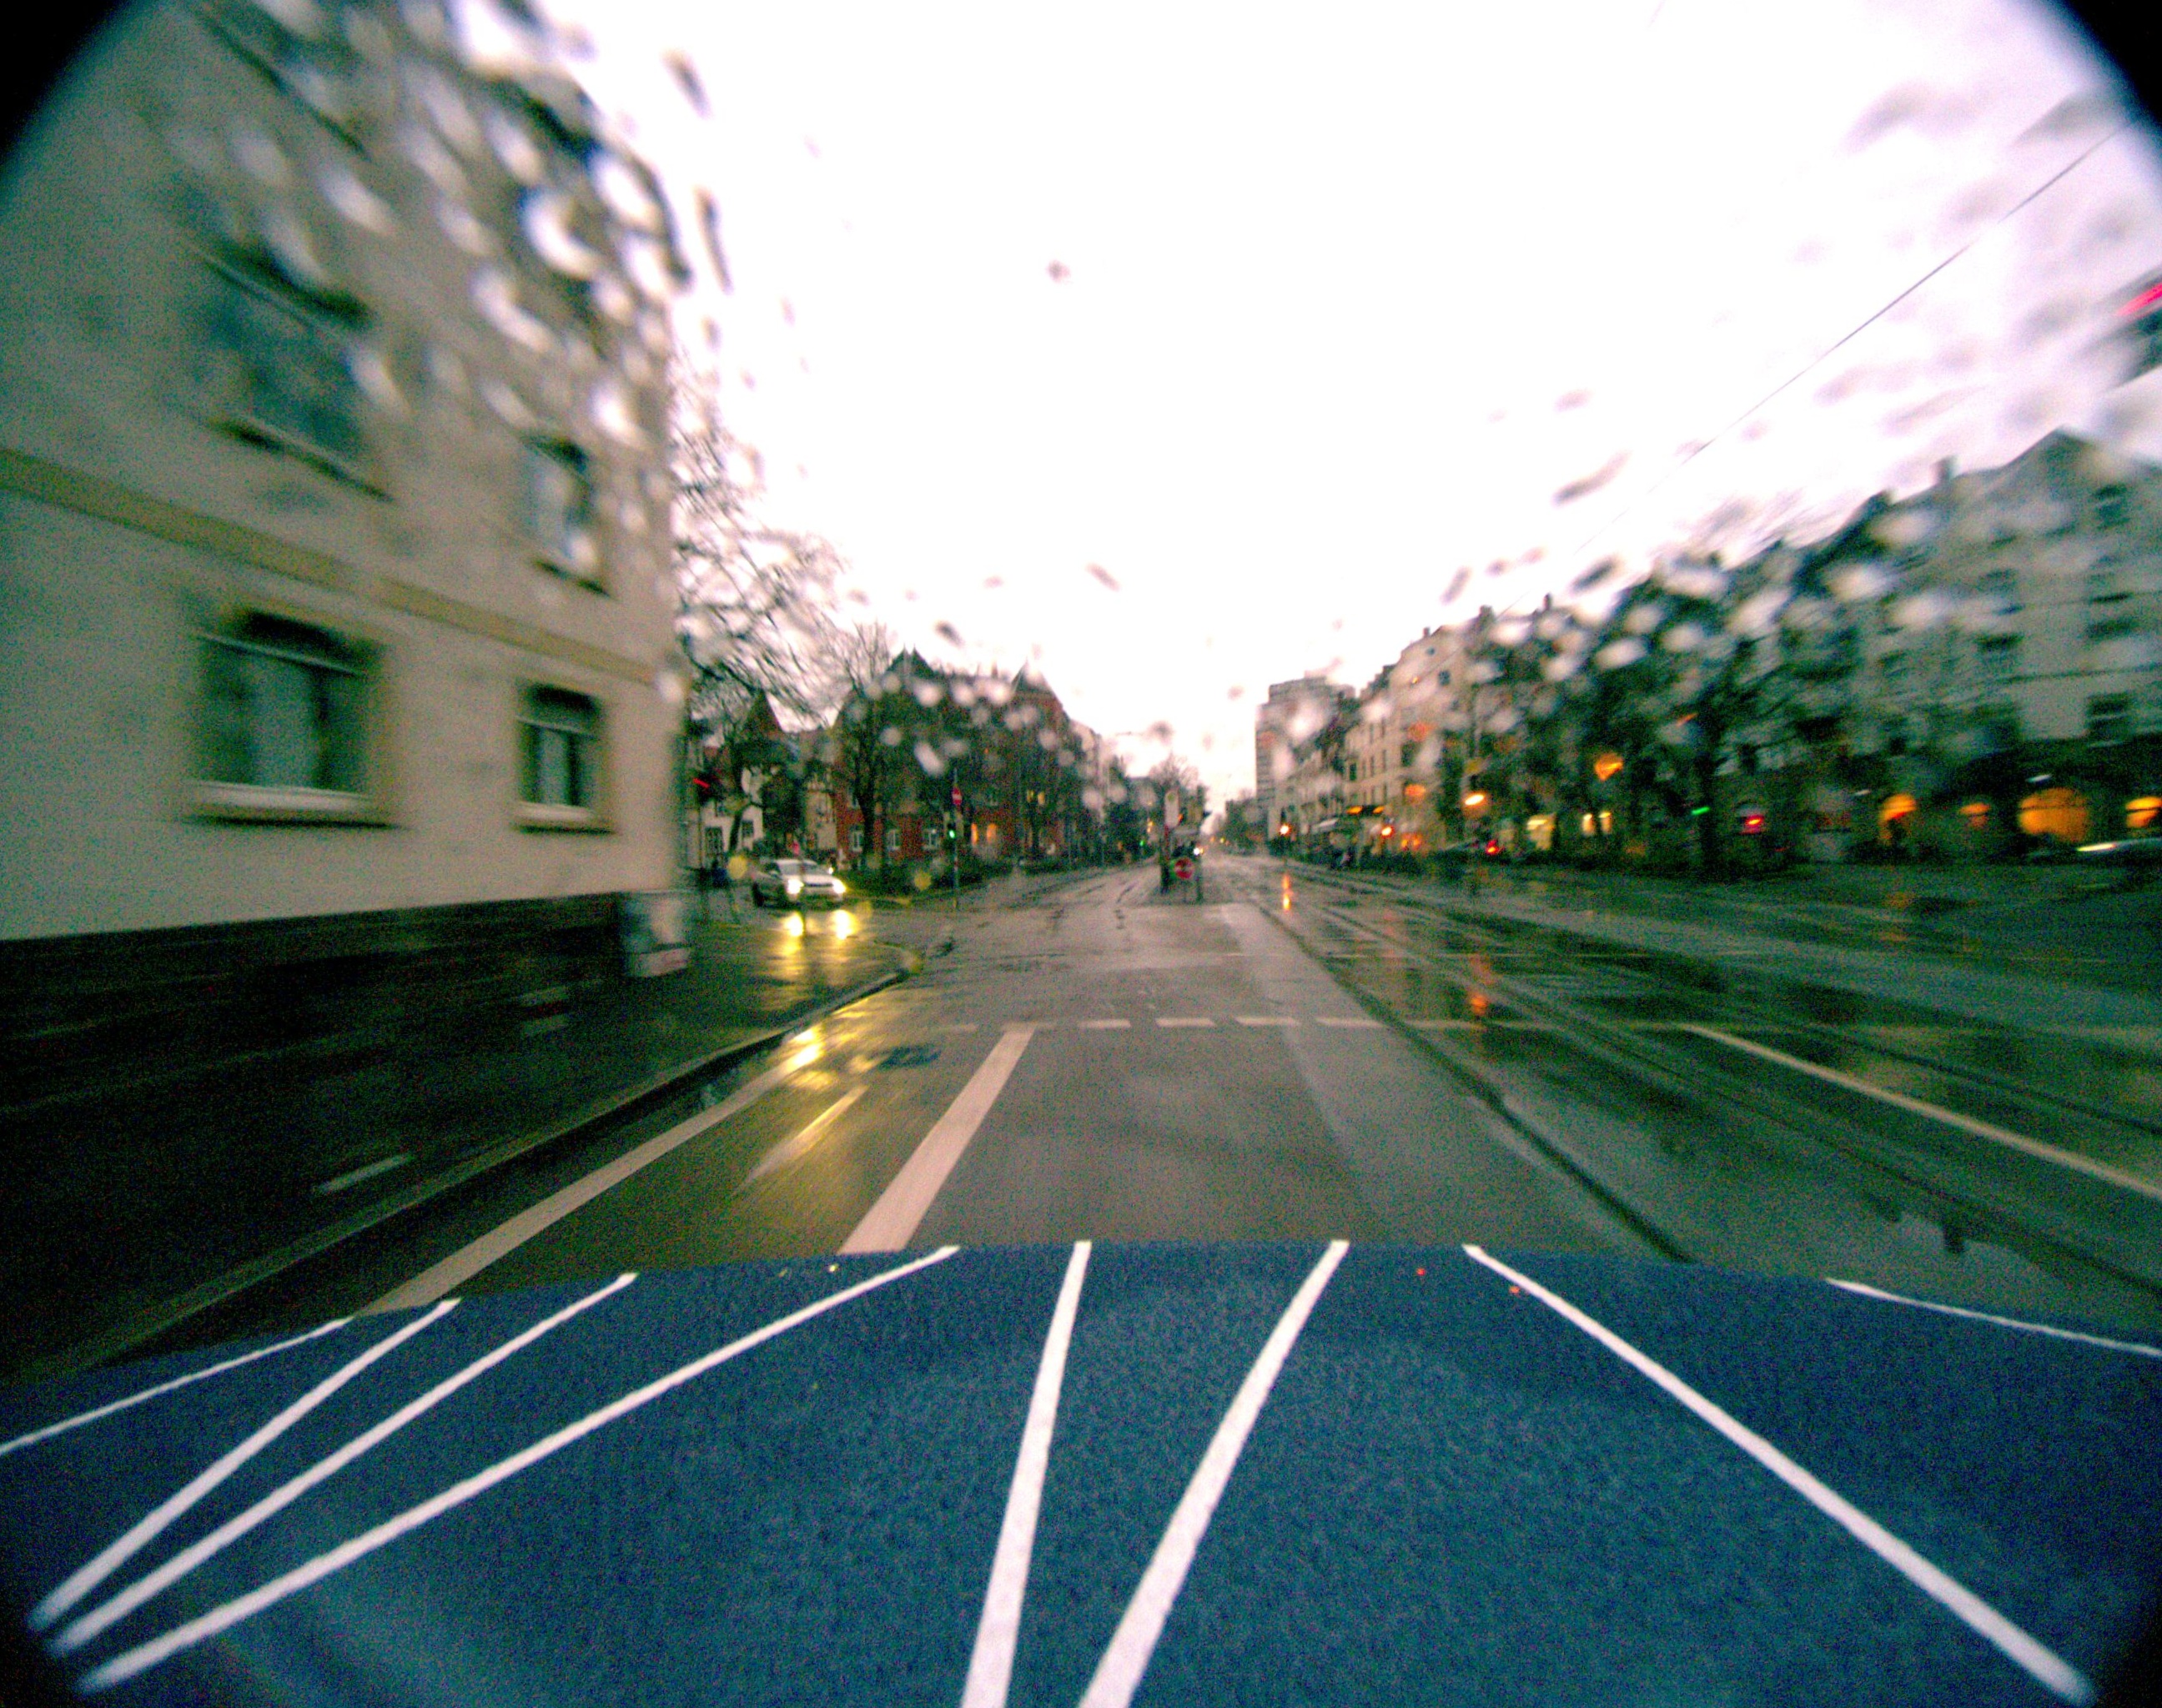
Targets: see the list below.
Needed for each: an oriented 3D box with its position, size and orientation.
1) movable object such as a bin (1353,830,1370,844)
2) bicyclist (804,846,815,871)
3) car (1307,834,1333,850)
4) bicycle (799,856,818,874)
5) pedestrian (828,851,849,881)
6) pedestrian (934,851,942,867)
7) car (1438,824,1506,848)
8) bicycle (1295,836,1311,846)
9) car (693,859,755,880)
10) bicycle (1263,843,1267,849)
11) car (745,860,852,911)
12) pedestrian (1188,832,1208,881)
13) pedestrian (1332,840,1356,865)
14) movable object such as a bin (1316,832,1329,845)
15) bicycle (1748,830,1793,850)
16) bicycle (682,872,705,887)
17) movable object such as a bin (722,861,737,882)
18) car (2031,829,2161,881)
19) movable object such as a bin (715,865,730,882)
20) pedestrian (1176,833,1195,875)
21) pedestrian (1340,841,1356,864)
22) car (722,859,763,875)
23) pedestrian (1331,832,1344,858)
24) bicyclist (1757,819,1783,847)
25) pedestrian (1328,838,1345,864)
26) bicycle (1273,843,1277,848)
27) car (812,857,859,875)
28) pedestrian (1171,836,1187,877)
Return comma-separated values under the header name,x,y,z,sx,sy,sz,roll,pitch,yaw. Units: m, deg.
name,x,y,z,sx,sy,sz,roll,pitch,yaw
movable object such as a bin,29.780,-1.805,80.683,1.352,1.364,1.282,-5,1,7
bicyclist,-21.010,0.356,58.806,0.467,1.876,0.680,-2,2,9
car,25.778,-1.267,81.991,1.676,1.507,3.679,-5,1,2
bicycle,-21.010,0.834,58.706,0.467,1.284,1.915,-2,1,9
pedestrian,-15.341,0.752,47.973,0.876,1.853,0.816,-1,2,36
pedestrian,-12.443,0.434,66.113,0.546,1.309,0.608,-4,1,-3
car,29.127,-1.337,56.596,4.332,1.574,1.941,-1,1,32
bicycle,31.734,-1.843,108.746,1.988,1.152,0.531,-5,1,8
car,-28.429,1.221,60.650,1.846,1.477,4.007,-2,1,37
bicycle,32.511,-1.442,134.184,0.435,1.001,1.882,-2,1,10
car,-9.768,0.989,26.044,1.903,1.501,4.740,-3,2,-40
pedestrian,4.587,0.092,29.816,0.688,1.906,0.718,-2,1,5
pedestrian,14.368,-0.103,41.517,1.058,1.247,0.506,-5,1,8
movable object such as a bin,29.647,-1.878,93.177,1.239,1.423,1.074,-5,1,7
bicycle,34.679,-0.700,38.235,0.492,1.001,1.810,-3,1,-5
bicycle,-22.722,1.494,44.601,0.339,0.761,1.589,-2,1,6
movable object such as a bin,-21.123,1.023,45.646,0.528,1.221,0.650,-3,1,-4
car,37.814,0.026,27.692,1.883,1.761,3.852,-3,1,-42
movable object such as a bin,-21.200,1.169,44.944,0.528,0.975,0.650,-3,1,-4
pedestrian,4.410,0.008,32.065,0.658,1.698,0.571,-5,1,9
pedestrian,14.354,-0.081,40.880,0.654,1.211,0.517,-5,1,8
car,-33.794,1.283,75.844,3.990,1.390,1.650,-2,1,28
pedestrian,14.341,-0.506,42.523,0.474,1.395,0.453,-5,1,8
bicyclist,34.664,-1.036,38.235,0.530,1.356,0.765,-5,2,-5
pedestrian,14.475,-0.178,43.046,0.685,1.395,0.578,-5,1,8
bicycle,30.605,-1.329,119.879,0.530,0.885,2.211,-1,1,13
car,-22.318,1.111,69.029,3.990,1.487,1.650,-2,1,28
pedestrian,4.548,0.108,35.161,0.558,1.797,0.571,-5,1,9
